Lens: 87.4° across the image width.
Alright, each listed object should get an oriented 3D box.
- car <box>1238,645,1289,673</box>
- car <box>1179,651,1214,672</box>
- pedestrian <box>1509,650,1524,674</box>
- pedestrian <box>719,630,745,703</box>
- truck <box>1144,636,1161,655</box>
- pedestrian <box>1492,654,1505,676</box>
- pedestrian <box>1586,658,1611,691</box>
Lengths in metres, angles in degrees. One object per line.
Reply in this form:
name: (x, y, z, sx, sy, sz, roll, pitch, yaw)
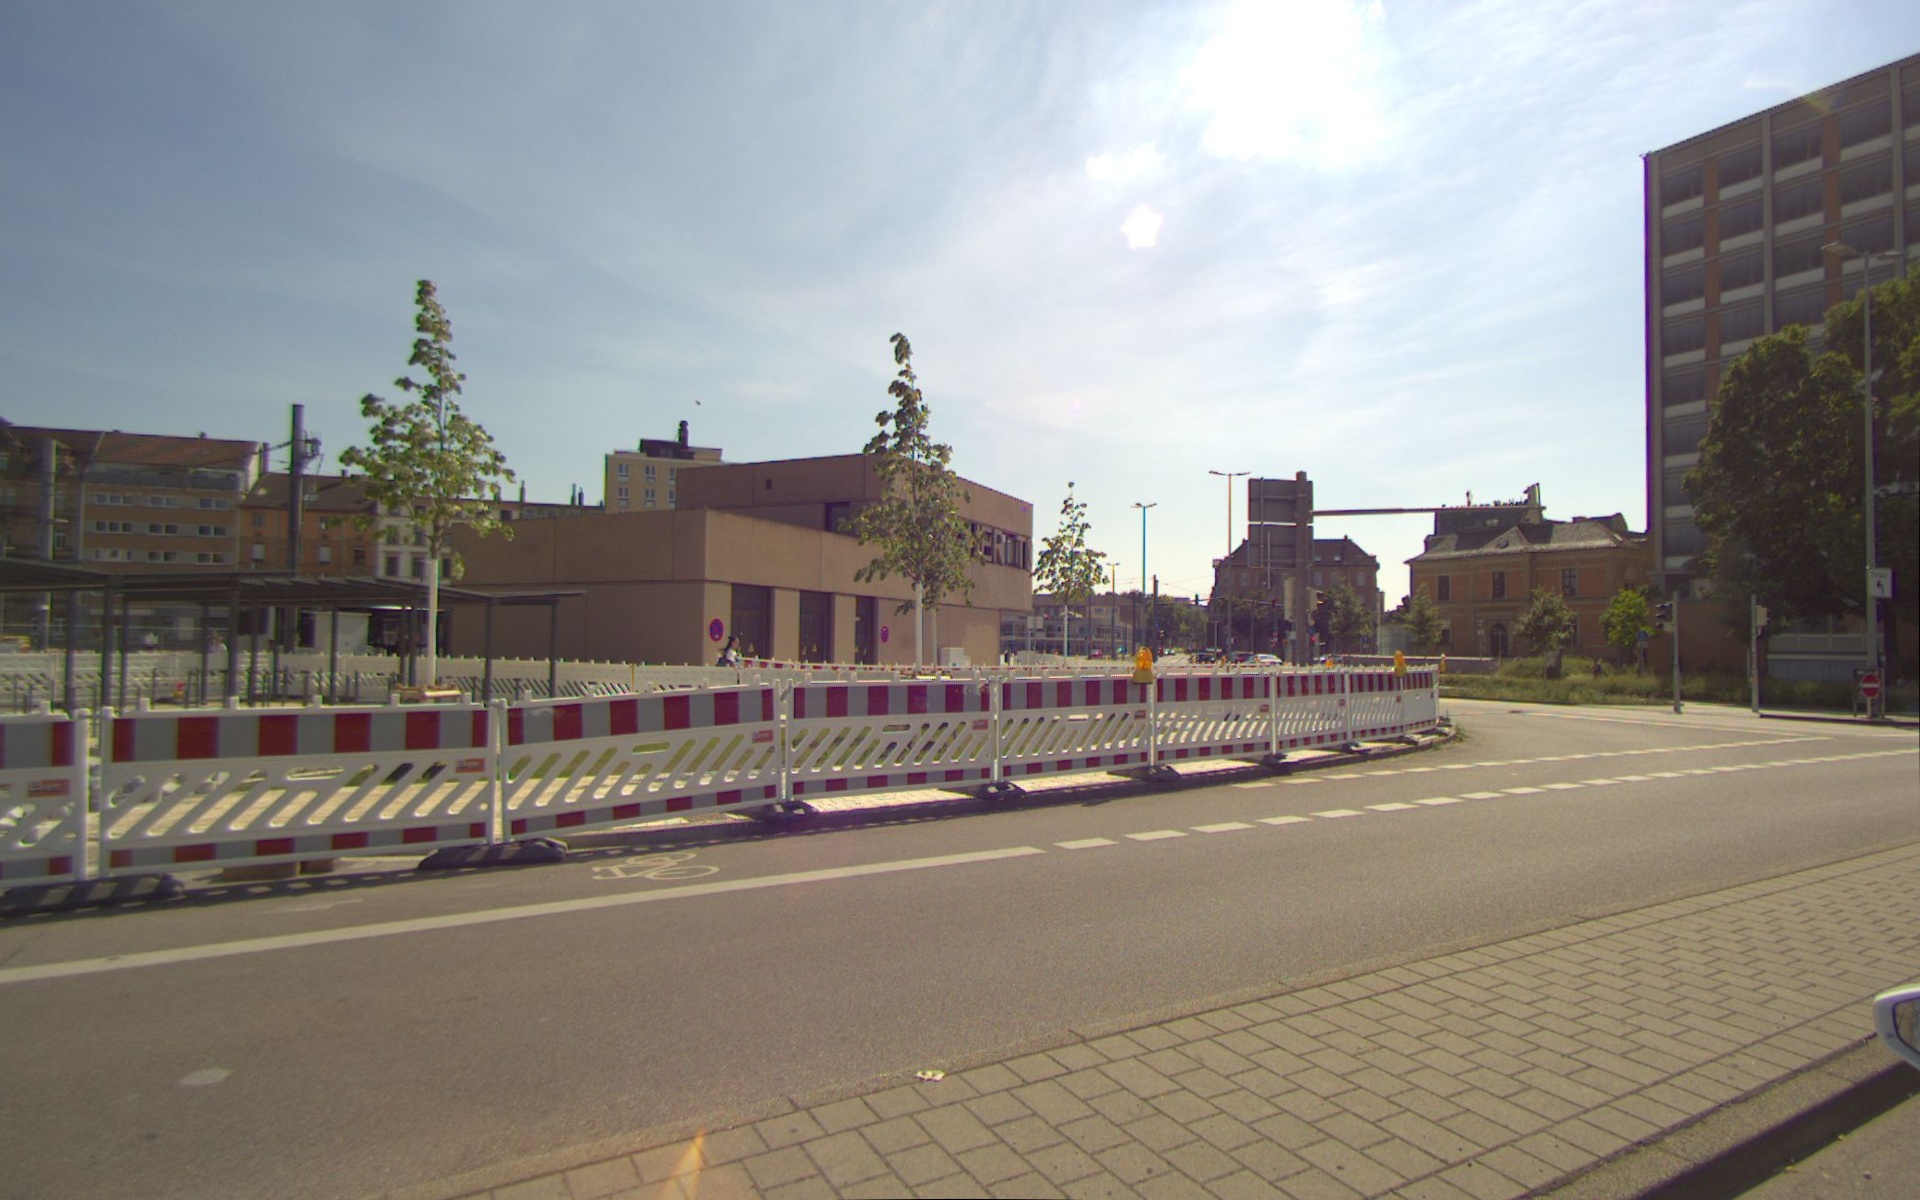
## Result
car: (21.003, 4.070, 69.648, 1.963, 1.839, 3.996, 1, -3, -7)
car: (18.127, 4.707, 77.157, 1.764, 1.530, 4.002, 1, -3, 1)
pedestrian: (40.548, 4.534, 73.153, 0.637, 1.683, 0.650, 2, 0, -3)
pedestrian: (-5.057, 1.465, 22.287, 0.415, 1.585, 0.558, 1, -2, -1)
truck: (39.185, 9.229, 204.619, 3.011, 3.779, 7.937, 1, -3, 10)
pedestrian: (42.056, 5.083, 78.447, 0.641, 1.683, 0.647, 2, -3, -22)
pedestrian: (34.714, 4.046, 54.612, 0.857, 1.748, 0.799, 2, -2, -7)
